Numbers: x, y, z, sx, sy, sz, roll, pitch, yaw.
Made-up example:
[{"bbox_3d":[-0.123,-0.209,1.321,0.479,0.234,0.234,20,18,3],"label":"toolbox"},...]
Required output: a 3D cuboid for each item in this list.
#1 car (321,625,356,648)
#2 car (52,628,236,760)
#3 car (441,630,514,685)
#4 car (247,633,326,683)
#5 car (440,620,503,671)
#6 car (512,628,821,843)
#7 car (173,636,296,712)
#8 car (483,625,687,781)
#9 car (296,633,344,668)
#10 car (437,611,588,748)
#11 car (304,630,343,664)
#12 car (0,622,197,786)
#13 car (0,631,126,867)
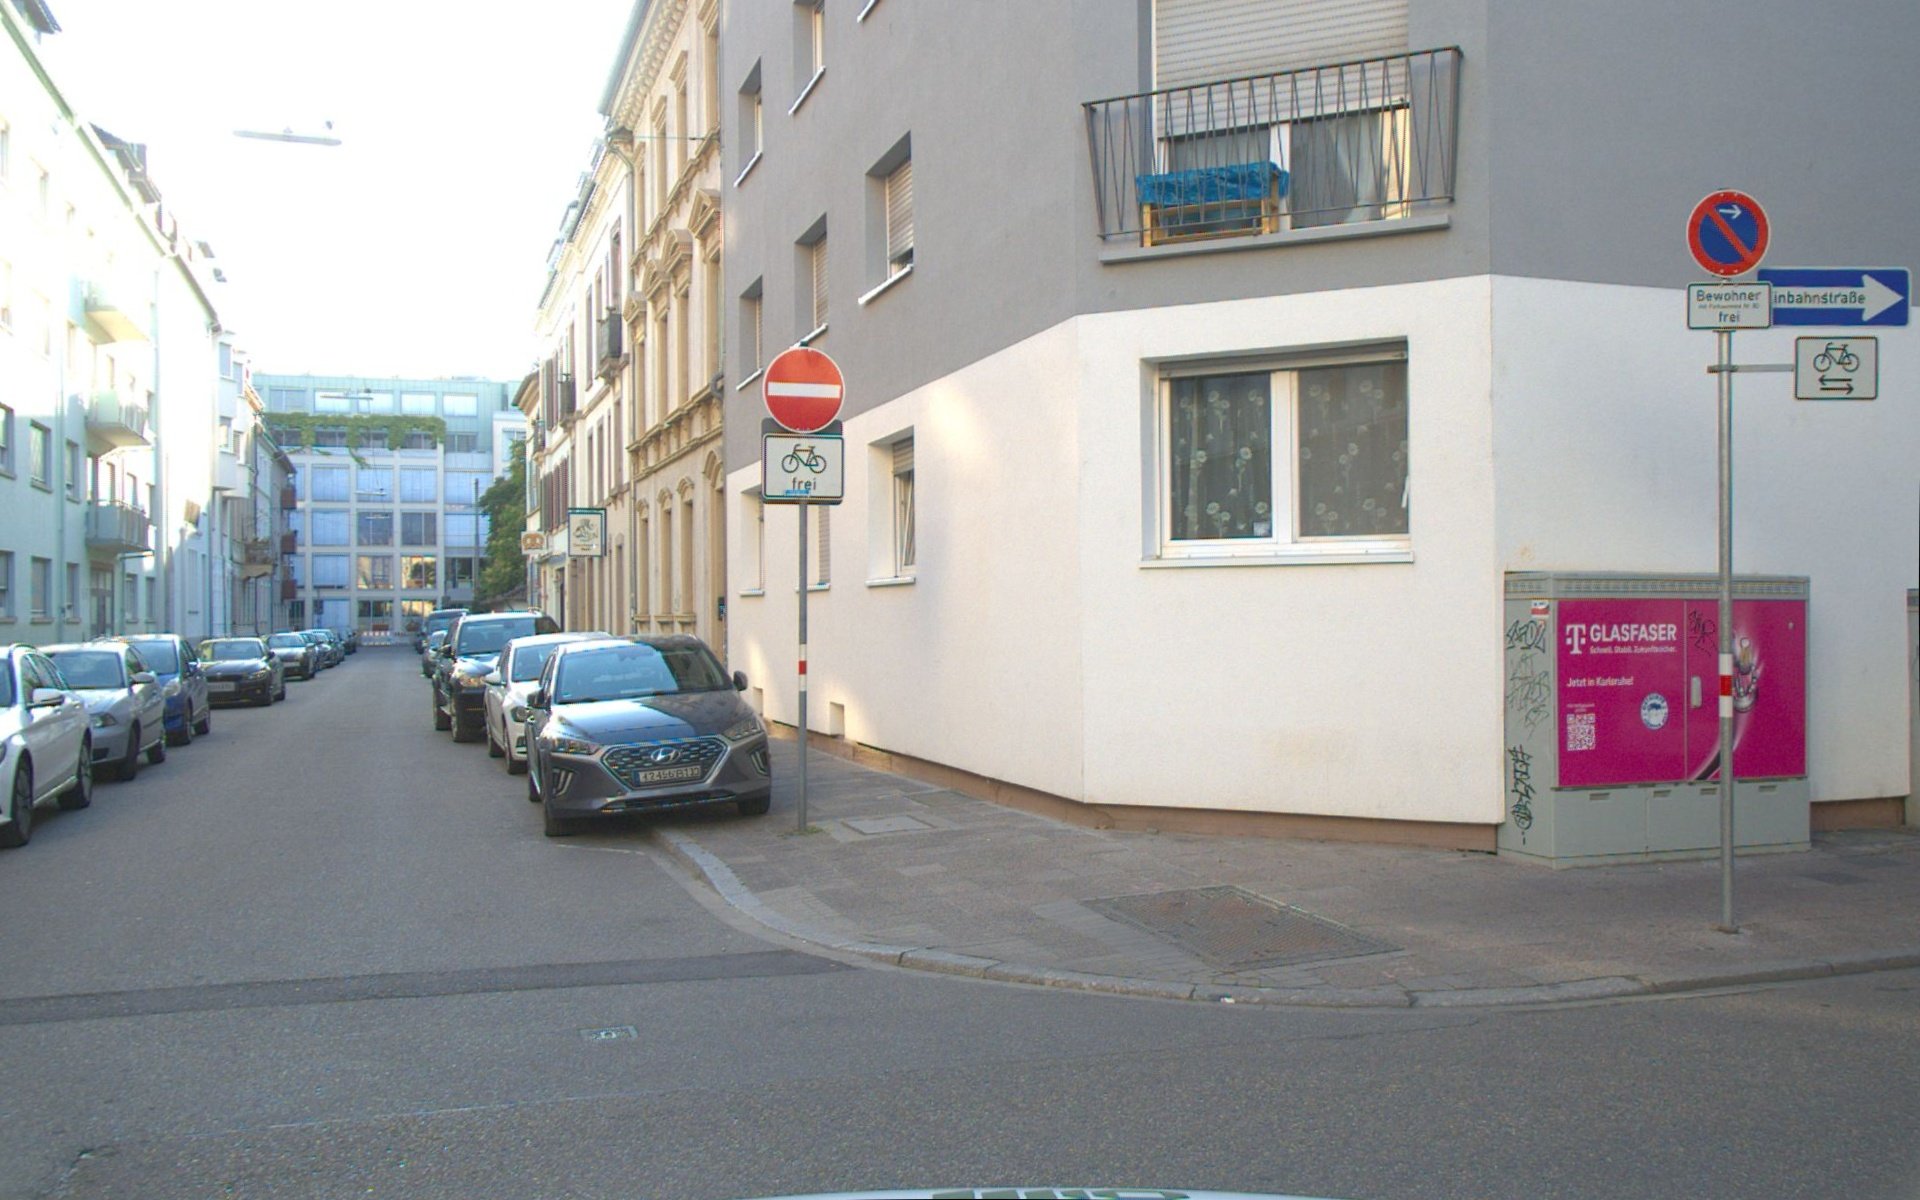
[{"bbox_3d":[-38.204,2.211,101.780,1.965,1.332,3.859,-1,0,-20],"label":"car"},{"bbox_3d":[-11.620,1.266,23.777,1.757,1.688,3.798,-1,0,-17],"label":"car"},{"bbox_3d":[-14.143,1.643,48.327,1.962,1.476,3.980,0,-1,-18],"label":"car"},{"bbox_3d":[-20.870,1.767,51.396,2.142,1.443,3.975,-1,0,-21],"label":"car"},{"bbox_3d":[-17.304,1.575,58.482,1.964,1.730,3.978,0,-1,-19],"label":"car"},{"bbox_3d":[-2.582,0.992,13.790,1.910,1.396,3.767,-3,0,-20],"label":"car"},{"bbox_3d":[-15.070,1.491,34.557,1.963,1.378,4.404,-1,0,-19],"label":"car"},{"bbox_3d":[-4.513,1.110,19.509,1.934,1.584,3.867,-1,0,-19],"label":"car"},{"bbox_3d":[-26.132,2.051,67.569,1.682,1.325,3.977,-1,0,-19],"label":"car"},{"bbox_3d":[-6.706,1.101,24.522,1.865,1.815,3.977,-1,0,-19],"label":"car"},{"bbox_3d":[-28.209,2.059,73.295,1.563,1.435,3.368,-1,0,-21],"label":"car"},{"bbox_3d":[-9.662,1.066,18.417,1.599,1.604,3.736,-1,0,-17],"label":"car"},{"bbox_3d":[-8.078,1.084,13.246,1.964,1.592,4.479,-1,0,-20],"label":"car"}]
